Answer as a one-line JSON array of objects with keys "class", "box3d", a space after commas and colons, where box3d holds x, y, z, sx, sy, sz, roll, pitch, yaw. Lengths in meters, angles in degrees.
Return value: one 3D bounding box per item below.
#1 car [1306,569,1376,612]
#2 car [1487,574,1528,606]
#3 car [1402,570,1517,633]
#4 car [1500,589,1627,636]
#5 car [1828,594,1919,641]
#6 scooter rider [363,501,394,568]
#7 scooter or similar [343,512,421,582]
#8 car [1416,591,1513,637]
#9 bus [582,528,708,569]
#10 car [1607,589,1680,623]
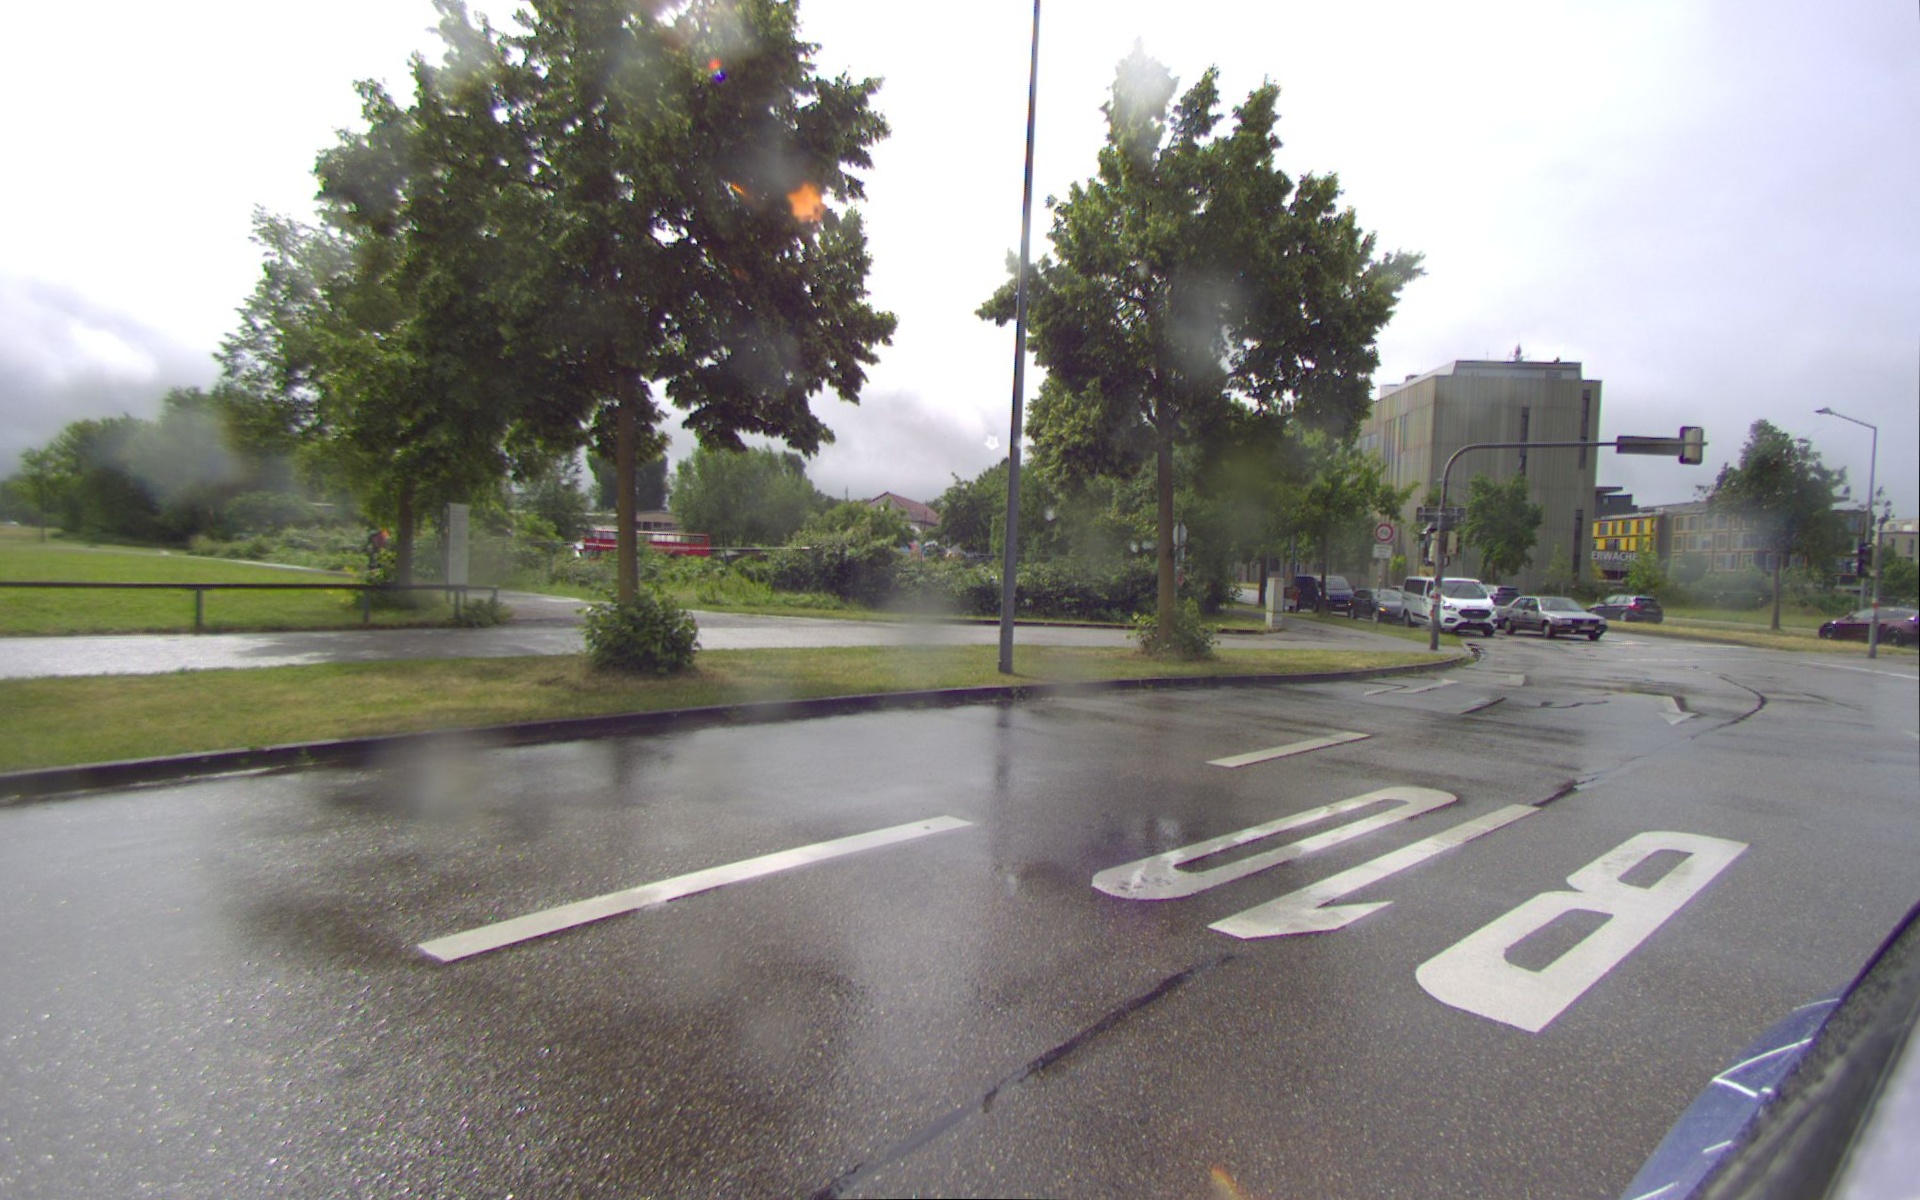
[{"class": "car", "box3d": [19.307, -0.521, 51.480, 2.042, 2.012, 4.794, 3, 1, 5]}, {"class": "car", "box3d": [33.173, -0.623, 61.399, 2.024, 1.779, 4.281, 4, 2, 27]}, {"class": "car", "box3d": [17.937, -0.014, 36.629, 2.043, 2.012, 4.793, 3, 1, 6]}, {"class": "car", "box3d": [20.885, 0.376, 35.286, 1.833, 1.397, 4.549, 1, 2, 3]}, {"class": "car", "box3d": [37.746, 0.714, 40.613, 1.840, 1.677, 4.500, 3, 2, 1]}, {"class": "scooter rider", "box3d": [-18.375, -2.050, 31.978, 0.694, 2.039, 0.769, 1, 0, -42]}, {"class": "scooter or similar", "box3d": [-18.057, -1.607, 31.565, 3.398, 2.039, 1.220, 1, 1, 44]}, {"class": "car", "box3d": [20.651, 0.527, 41.645, 1.834, 1.554, 4.487, 3, 3, 3]}, {"class": "bus", "box3d": [-28.428, -4.641, 91.630, 10.766, 3.503, 2.002, 1, 0, -5]}, {"class": "car", "box3d": [35.850, 0.270, 53.173, 1.784, 1.547, 3.984, 3, 2, 14]}]
